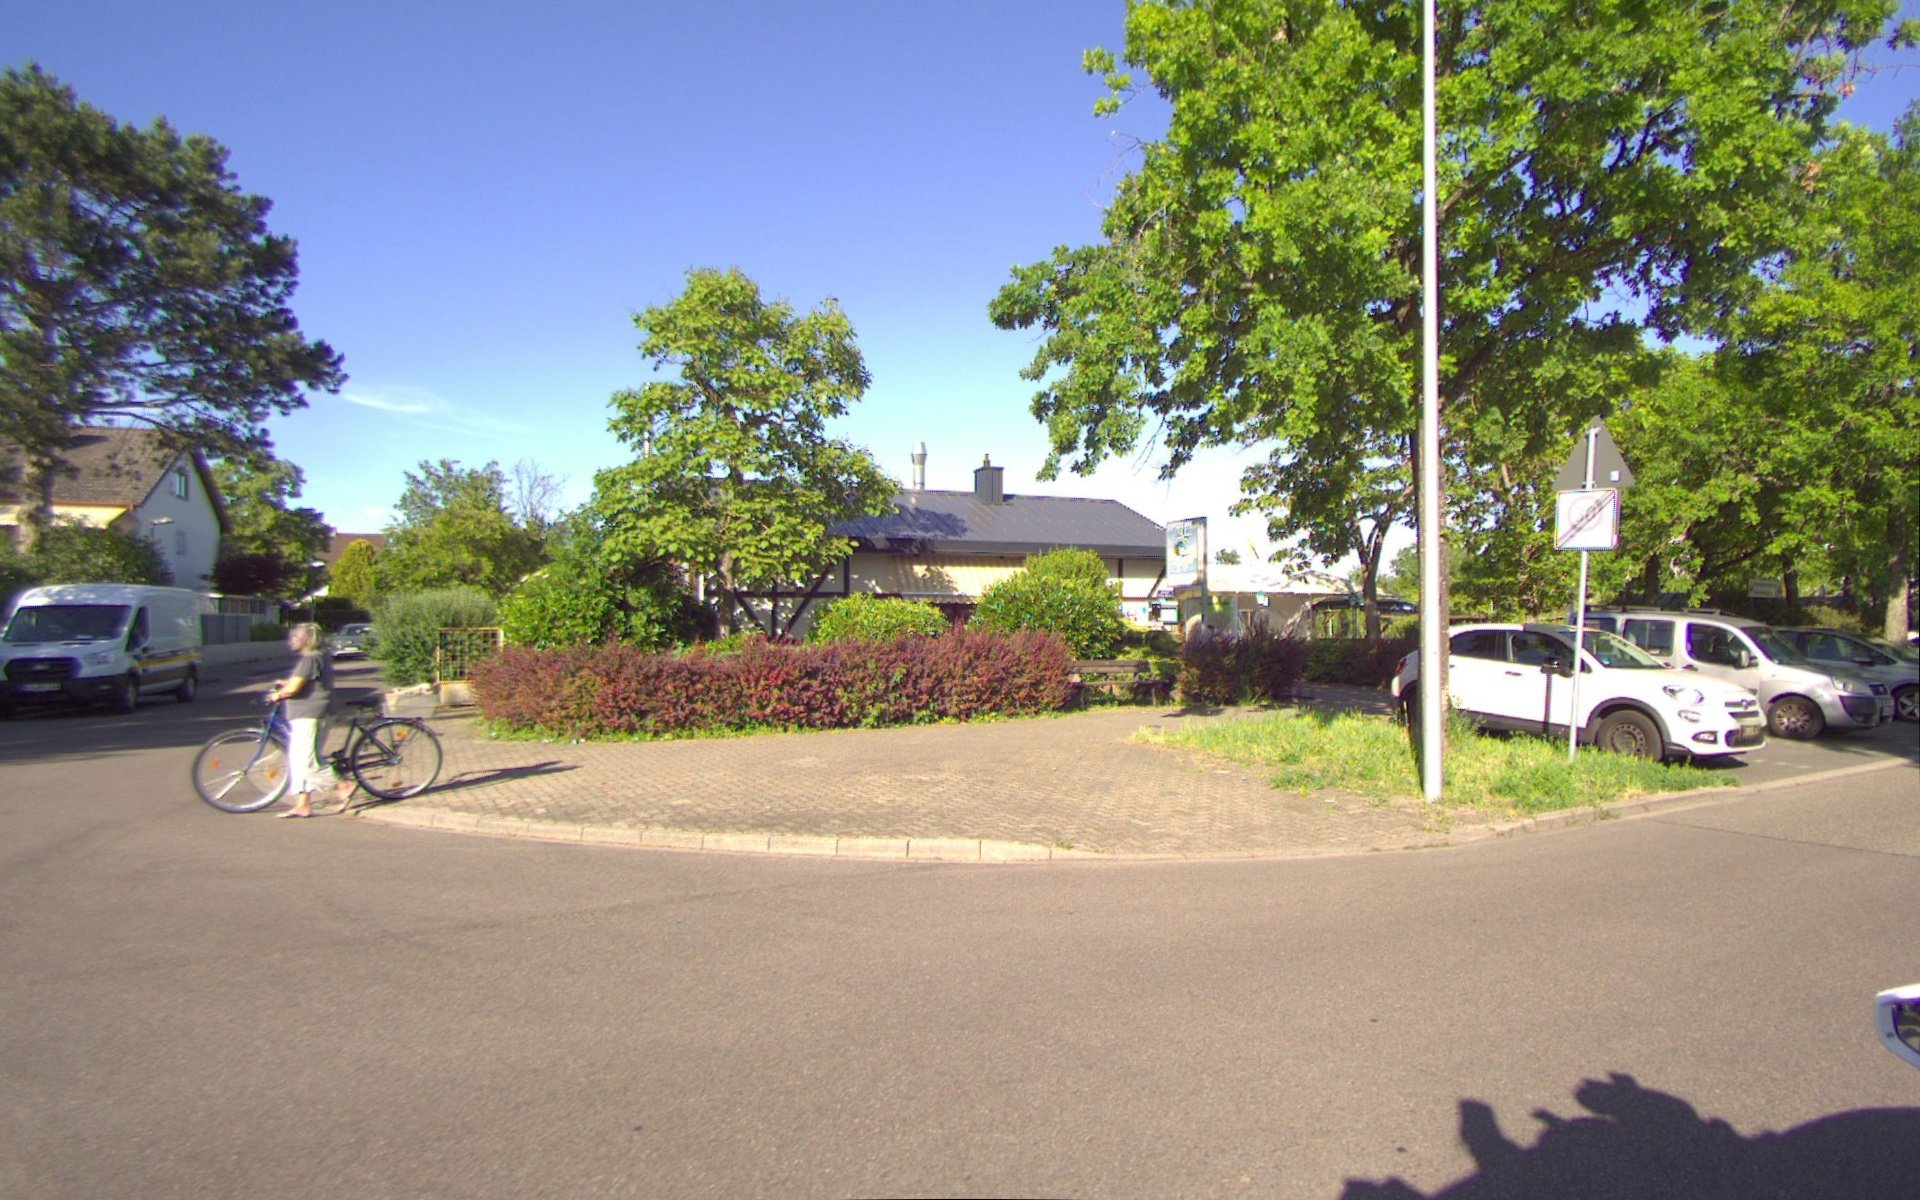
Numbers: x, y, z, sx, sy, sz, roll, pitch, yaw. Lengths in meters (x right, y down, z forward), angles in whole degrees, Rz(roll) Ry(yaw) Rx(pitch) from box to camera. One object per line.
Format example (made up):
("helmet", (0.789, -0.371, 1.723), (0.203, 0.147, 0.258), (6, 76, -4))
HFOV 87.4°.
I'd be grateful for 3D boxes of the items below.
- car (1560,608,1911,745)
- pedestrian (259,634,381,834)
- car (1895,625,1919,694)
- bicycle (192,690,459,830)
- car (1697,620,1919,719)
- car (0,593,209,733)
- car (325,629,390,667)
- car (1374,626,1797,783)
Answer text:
("car", (12.050, 1.094, 15.894), (1.874, 1.864, 3.998), (1, -2, -30))
("pedestrian", (-5.265, 1.067, 8.304), (0.791, 1.577, 0.439), (1, -1, -28))
("car", (24.857, 1.418, 23.524), (1.790, 1.669, 3.998), (1, -2, -30))
("bicycle", (-5.361, 1.332, 8.613), (1.865, 1.053, 0.446), (1, -1, -23))
("car", (16.294, 1.214, 18.483), (1.874, 1.669, 3.998), (1, -2, -30))
("car", (-16.807, 1.150, 19.820), (1.972, 2.380, 5.602), (1, -2, -24))
("car", (-28.078, 2.207, 46.936), (1.879, 1.662, 4.454), (1, -2, -22))
("car", (7.697, 1.151, 12.824), (1.874, 1.644, 4.223), (1, -2, -30))
